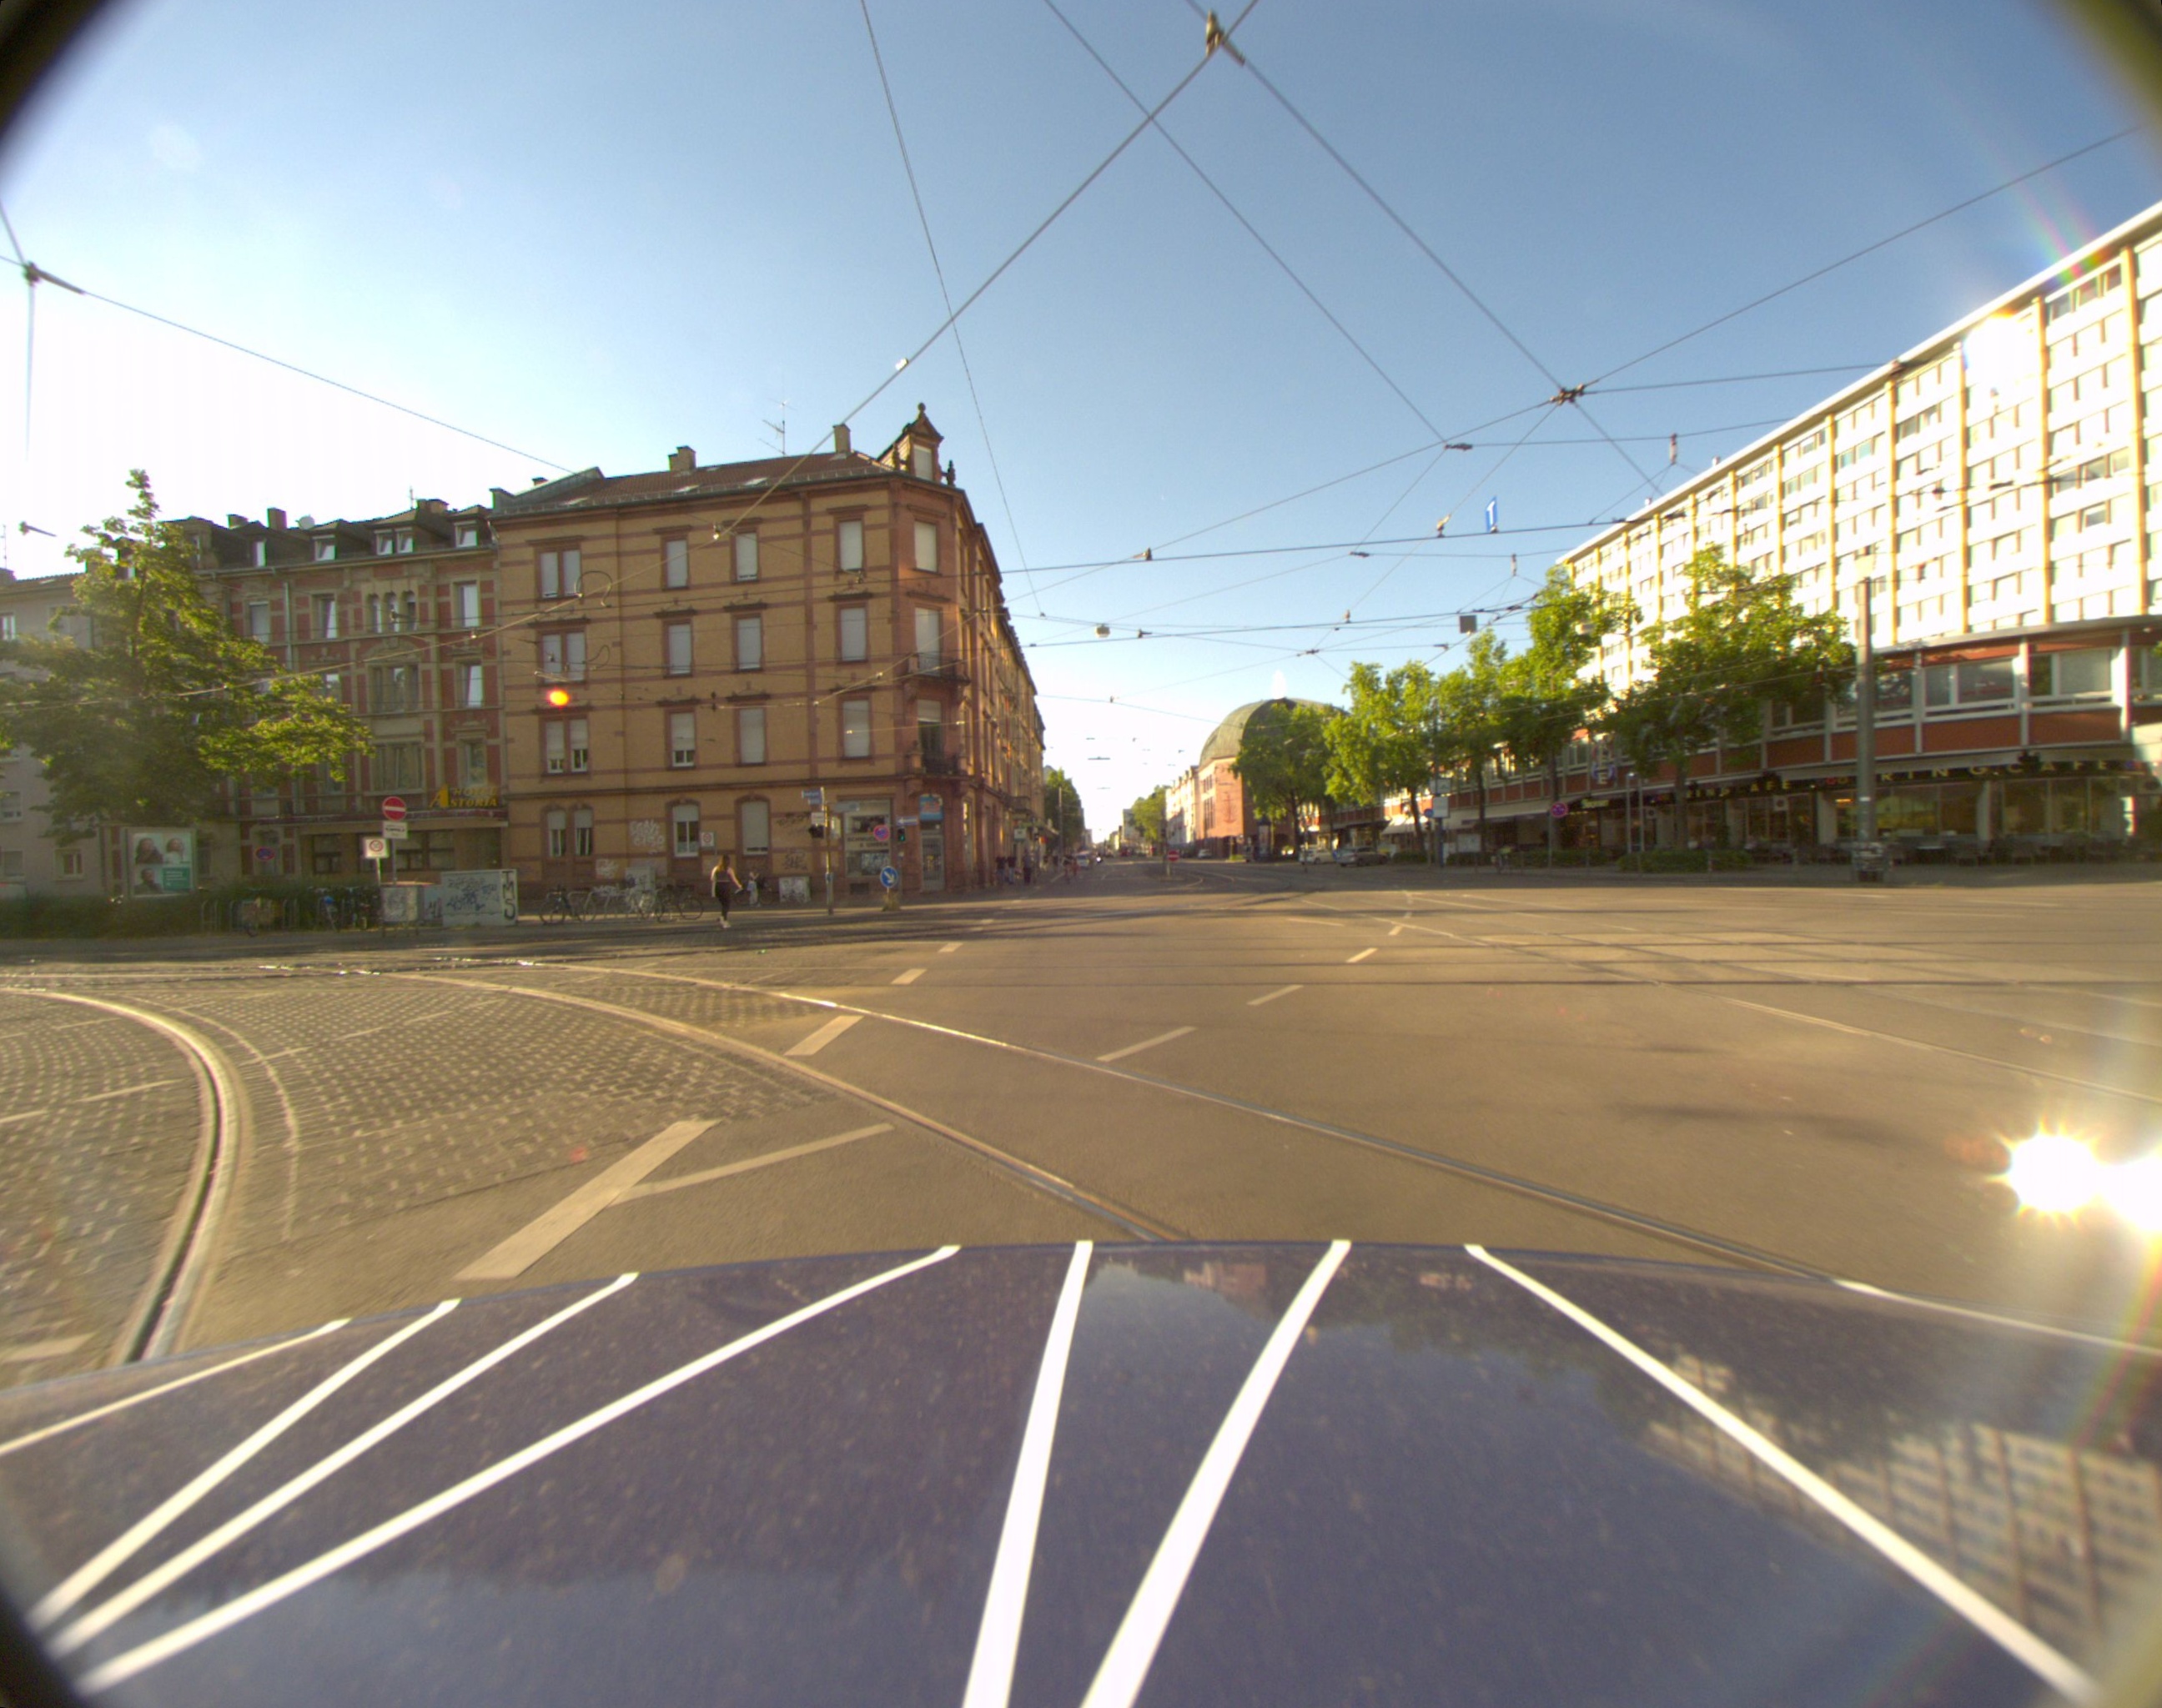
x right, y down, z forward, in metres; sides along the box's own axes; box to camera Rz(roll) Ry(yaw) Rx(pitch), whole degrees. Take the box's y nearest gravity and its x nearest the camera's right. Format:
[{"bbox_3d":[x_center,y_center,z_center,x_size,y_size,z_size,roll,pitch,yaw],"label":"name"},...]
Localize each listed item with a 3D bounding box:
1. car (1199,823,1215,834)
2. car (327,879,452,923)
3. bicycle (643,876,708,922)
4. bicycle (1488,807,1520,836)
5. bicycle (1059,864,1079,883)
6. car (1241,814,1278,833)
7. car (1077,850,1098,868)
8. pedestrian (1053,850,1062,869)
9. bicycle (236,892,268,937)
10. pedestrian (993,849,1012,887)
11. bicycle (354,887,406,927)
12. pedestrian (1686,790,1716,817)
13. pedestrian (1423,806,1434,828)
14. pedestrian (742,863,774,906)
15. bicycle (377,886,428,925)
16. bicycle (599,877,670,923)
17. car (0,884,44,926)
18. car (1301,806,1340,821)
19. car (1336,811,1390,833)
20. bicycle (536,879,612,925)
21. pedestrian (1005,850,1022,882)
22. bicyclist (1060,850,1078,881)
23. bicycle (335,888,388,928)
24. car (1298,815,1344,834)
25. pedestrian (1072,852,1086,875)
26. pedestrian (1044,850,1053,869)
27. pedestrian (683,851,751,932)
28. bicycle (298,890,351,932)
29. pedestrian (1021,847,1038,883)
[{"bbox_3d":[20.970,-4.249,126.741,1.910,1.594,3.999,-3,1,-1],"label":"car"},{"bbox_3d":[-26.166,1.753,28.797,3.574,1.486,1.699,-2,-1,11],"label":"car"},{"bbox_3d":[-11.688,1.281,21.962,0.755,1.255,1.836,-2,-1,6],"label":"bicycle"},{"bbox_3d":[19.509,-1.472,35.045,0.582,1.227,1.857,-3,1,7],"label":"bicycle"},{"bbox_3d":[-0.640,1.050,41.762,0.885,0.949,1.766,-2,1,5],"label":"bicycle"},{"bbox_3d":[20.847,-3.547,88.812,4.006,1.953,1.907,-4,1,-33],"label":"car"},{"bbox_3d":[0.684,0.446,74.847,1.670,1.674,4.001,-2,1,5],"label":"car"},{"bbox_3d":[-2.050,0.489,66.557,0.700,1.713,0.502,0,1,3],"label":"pedestrian"},{"bbox_3d":[-22.251,1.599,20.410,1.795,1.101,0.501,-1,1,43],"label":"bicycle"},{"bbox_3d":[-3.595,0.627,34.895,0.777,1.713,0.754,0,1,2],"label":"pedestrian"},{"bbox_3d":[-20.444,1.543,22.161,1.795,1.101,0.501,-1,1,28],"label":"bicycle"},{"bbox_3d":[30.242,-2.453,37.075,0.838,1.256,0.908,-2,1,17],"label":"pedestrian"},{"bbox_3d":[27.505,-2.921,60.121,0.635,1.759,0.769,-1,2,18],"label":"pedestrian"},{"bbox_3d":[-12.646,1.189,29.780,0.743,1.563,0.763,-3,5,8],"label":"pedestrian"},{"bbox_3d":[-20.206,1.508,22.618,1.795,1.101,0.501,-1,1,28],"label":"bicycle"},{"bbox_3d":[-13.054,1.334,22.299,0.755,1.255,1.969,-2,-1,6],"label":"bicycle"},{"bbox_3d":[-48.892,2.302,33.614,3.976,1.807,1.978,-2,-1,10],"label":"car"},{"bbox_3d":[35.007,-5.949,111.083,4.983,2.002,2.000,-2,1,-1],"label":"car"},{"bbox_3d":[22.009,-2.485,59.270,4.005,1.545,1.794,-3,1,-30],"label":"car"},{"bbox_3d":[-14.810,1.382,22.273,0.755,1.255,1.969,-2,-1,6],"label":"bicycle"},{"bbox_3d":[-3.628,0.631,40.920,0.777,1.713,0.754,0,1,2],"label":"pedestrian"},{"bbox_3d":[-0.649,0.619,41.763,0.885,1.650,0.803,-2,1,4],"label":"bicyclist"},{"bbox_3d":[-20.625,1.537,21.772,1.795,1.101,0.501,-1,1,28],"label":"bicycle"},{"bbox_3d":[22.104,-2.730,70.031,4.005,1.466,1.794,-3,1,-30],"label":"car"},{"bbox_3d":[-0.155,0.672,54.202,0.849,1.652,0.850,-2,1,5],"label":"pedestrian"},{"bbox_3d":[-2.873,0.468,66.876,0.700,1.713,0.681,0,1,3],"label":"pedestrian"},{"bbox_3d":[-8.492,0.851,17.778,1.025,1.796,1.083,-2,1,-2],"label":"pedestrian"},{"bbox_3d":[-21.176,1.570,21.259,1.795,1.101,0.501,-1,1,28],"label":"bicycle"},{"bbox_3d":[-2.768,0.583,40.670,0.824,1.883,0.754,0,1,2],"label":"pedestrian"}]
